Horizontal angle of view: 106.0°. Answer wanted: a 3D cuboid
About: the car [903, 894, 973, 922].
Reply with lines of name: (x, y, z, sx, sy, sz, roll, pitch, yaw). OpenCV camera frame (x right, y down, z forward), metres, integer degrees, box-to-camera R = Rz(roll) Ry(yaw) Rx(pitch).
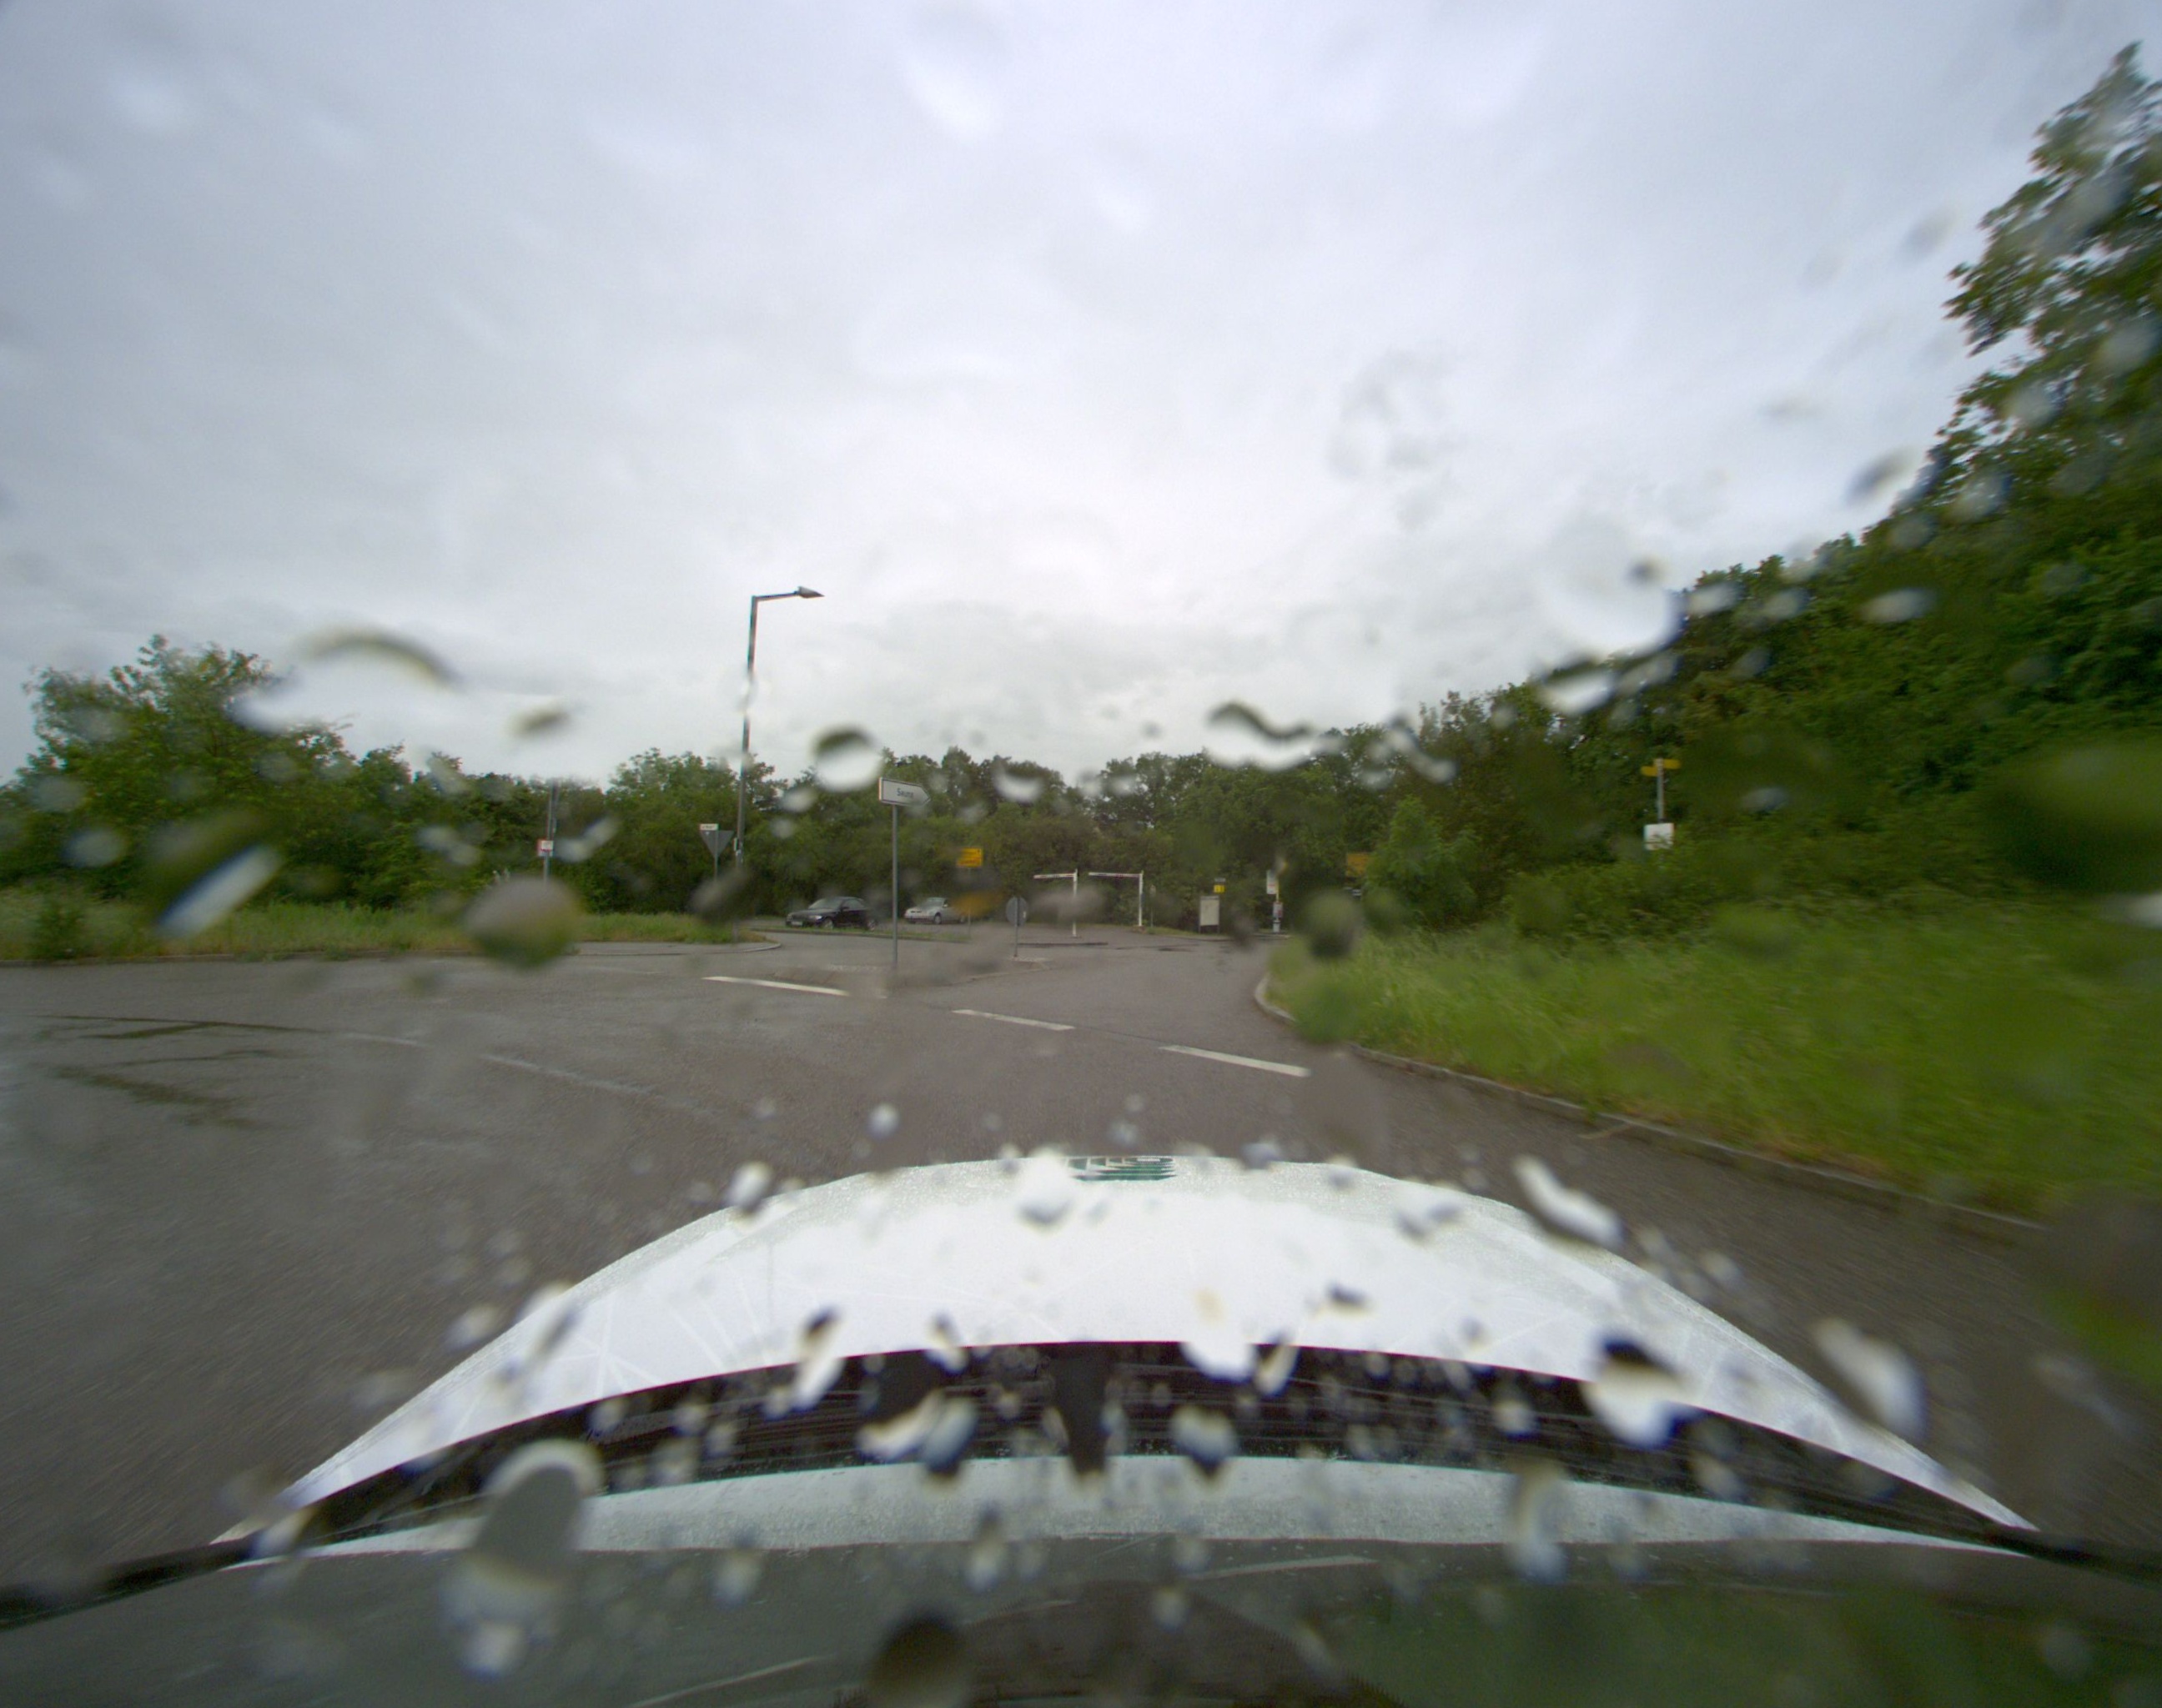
car: (-7.511, 2.820, 43.049, 1.587, 1.355, 4.144, 0, -3, 23)

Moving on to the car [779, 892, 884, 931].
car: (-9.549, 2.249, 31.532, 1.607, 1.356, 4.209, 0, -5, 21)
